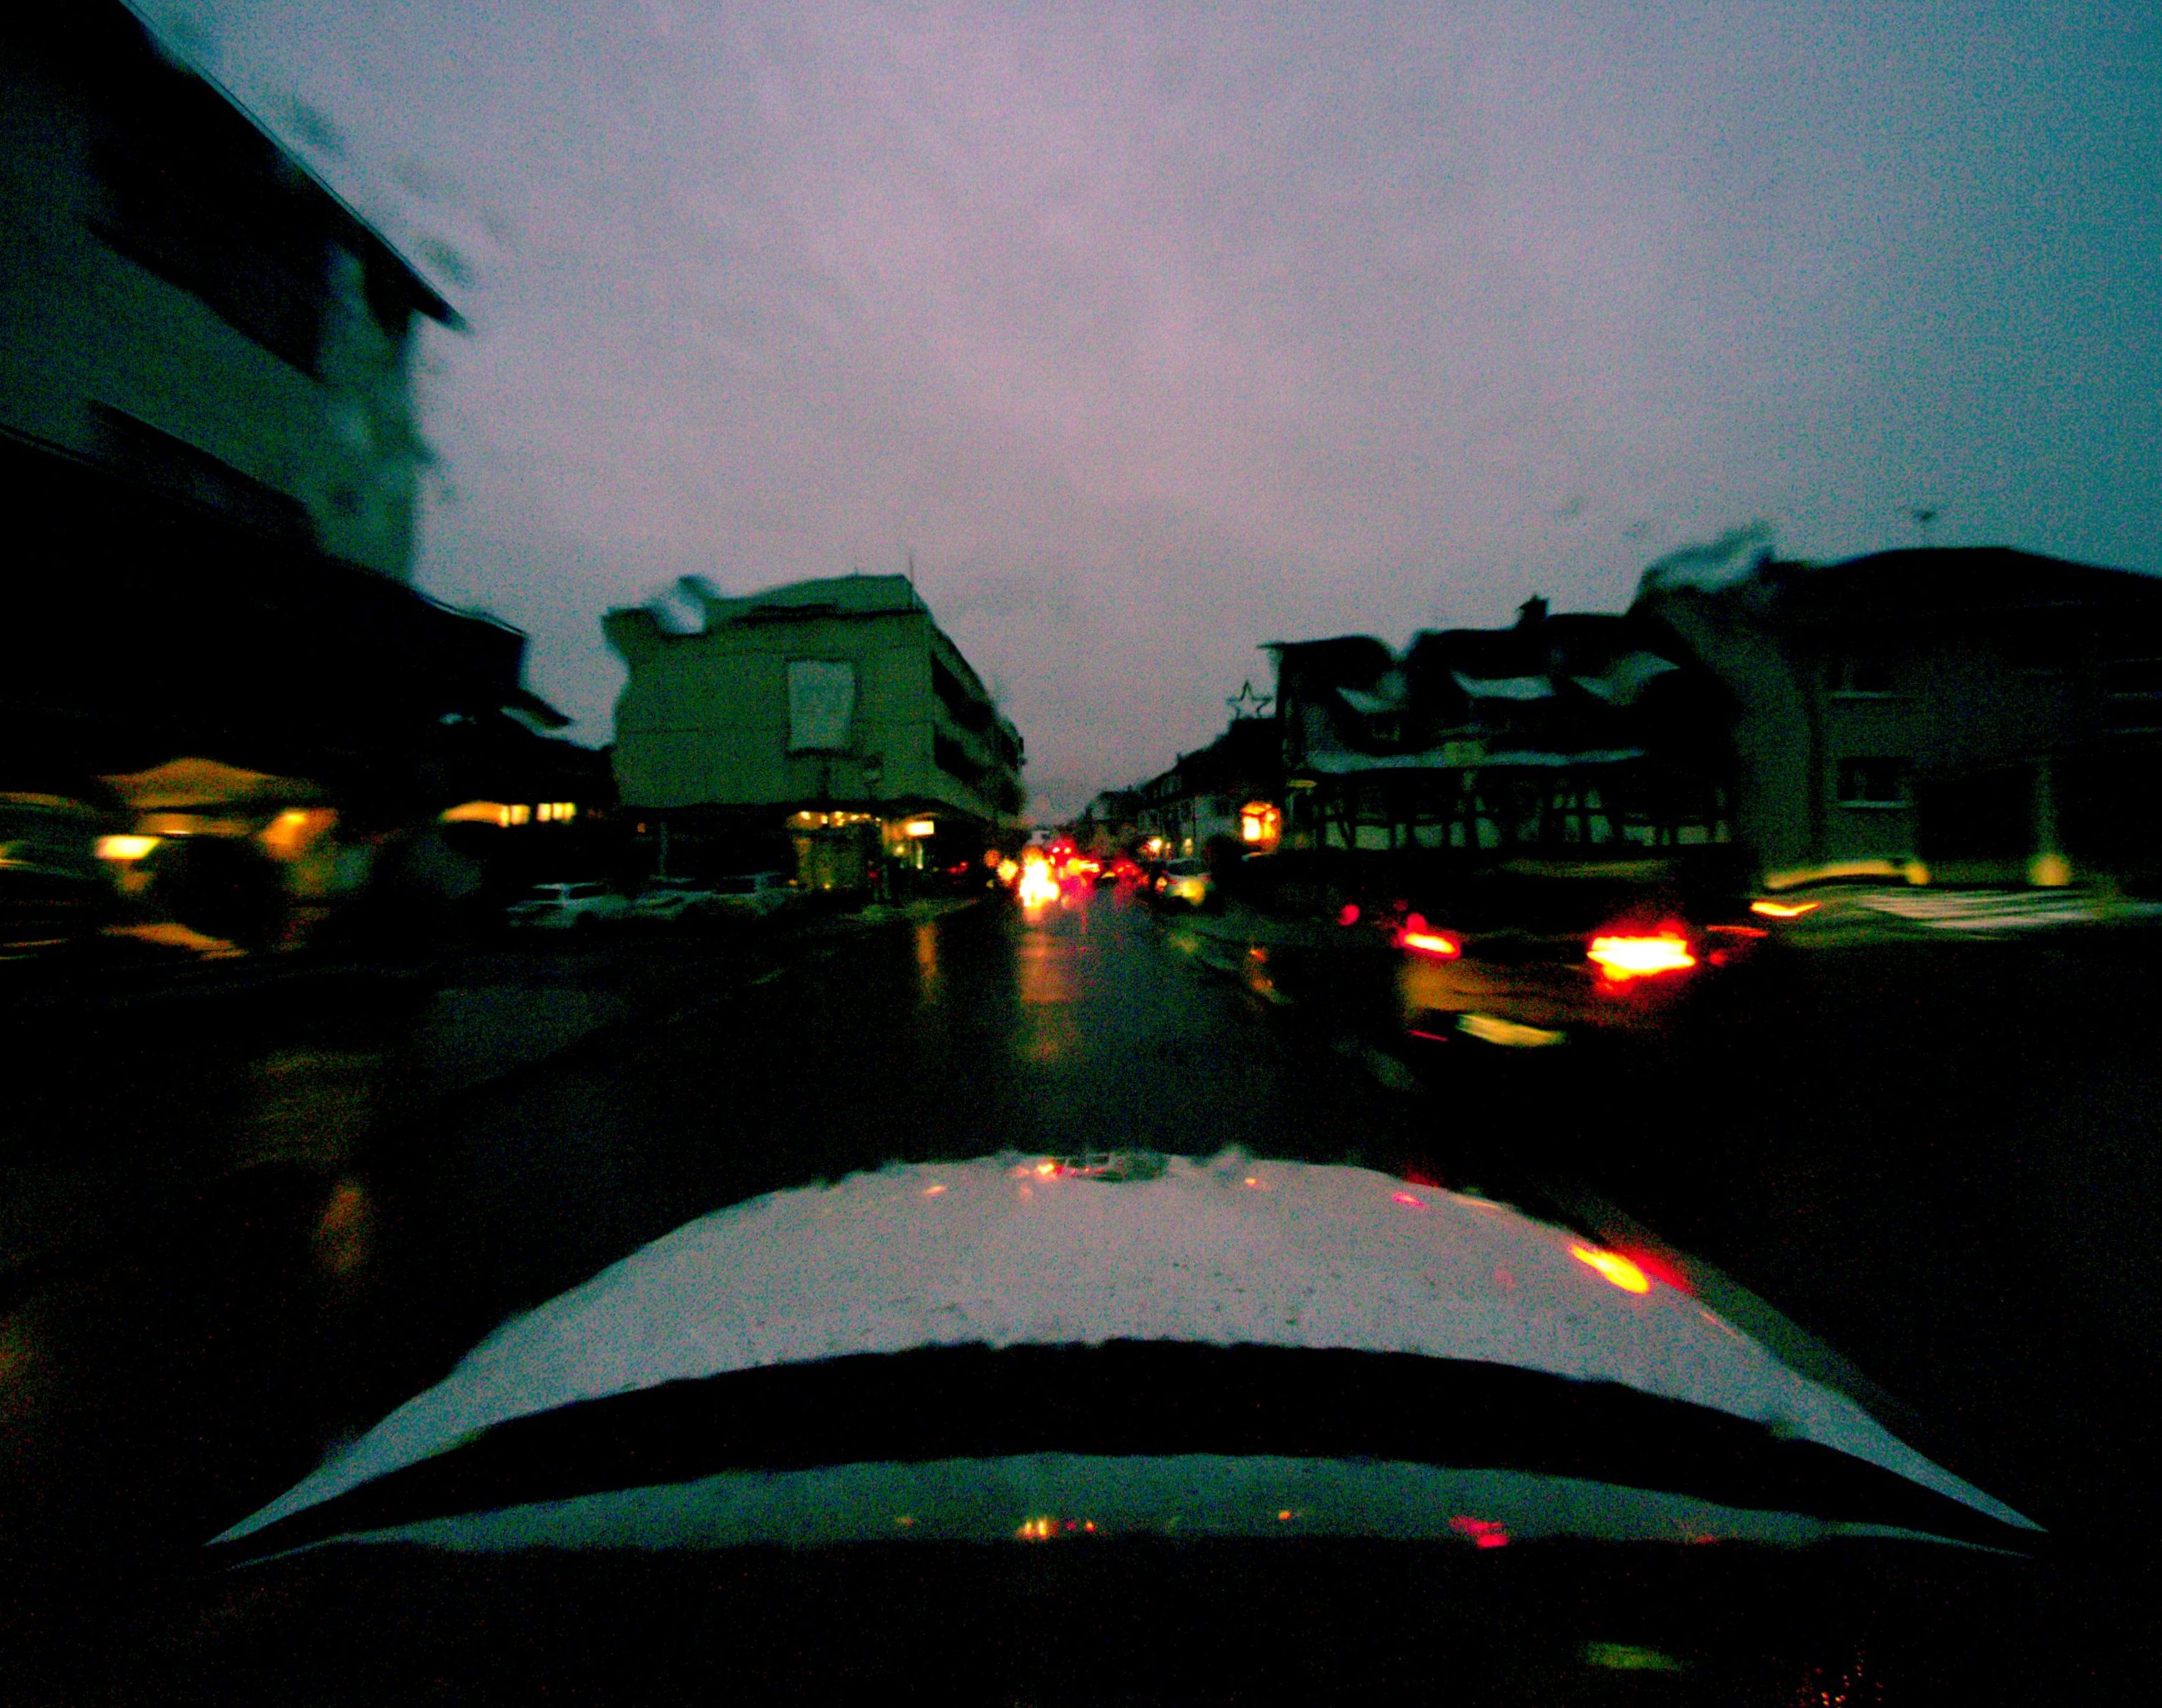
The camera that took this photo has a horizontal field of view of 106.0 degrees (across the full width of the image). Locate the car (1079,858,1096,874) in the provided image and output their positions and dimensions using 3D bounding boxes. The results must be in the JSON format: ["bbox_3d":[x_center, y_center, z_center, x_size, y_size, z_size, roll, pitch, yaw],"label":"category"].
[{"bbox_3d":[0.601,1.108,76.738,1.633,1.481,3.270,0,0,0],"label":"car"}]

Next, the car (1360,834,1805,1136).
[{"bbox_3d":[3.881,0.661,6.042,3.747,1.447,1.755,-3,0,-42],"label":"car"}]

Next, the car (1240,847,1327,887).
[{"bbox_3d":[8.701,0.551,35.214,3.278,1.441,1.686,-5,-1,0],"label":"car"}]

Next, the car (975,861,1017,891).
[{"bbox_3d":[-4.452,1.129,43.279,1.608,1.533,3.931,0,0,3],"label":"car"}]

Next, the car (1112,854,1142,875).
[{"bbox_3d":[3.645,0.787,65.168,1.878,1.547,4.665,-2,0,-3],"label":"car"}]

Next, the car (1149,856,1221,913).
[{"bbox_3d":[3.027,0.866,24.342,1.725,1.459,4.002,-4,-1,2],"label":"car"}]

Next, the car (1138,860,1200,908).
[{"bbox_3d":[3.115,1.031,29.686,1.758,1.526,4.390,-4,-1,1],"label":"car"}]

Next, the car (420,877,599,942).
[{"bbox_3d":[-16.747,1.558,24.187,1.688,1.464,4.460,-2,1,8],"label":"car"}]

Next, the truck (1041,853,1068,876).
[{"bbox_3d":[-3.805,1.455,115.387,3.014,3.129,7.977,0,-1,-8],"label":"truck"}]

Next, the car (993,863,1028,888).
[{"bbox_3d":[-4.185,1.255,49.052,1.669,1.446,4.428,0,0,1],"label":"car"}]

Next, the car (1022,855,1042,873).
[{"bbox_3d":[-4.721,0.947,78.727,1.792,1.642,3.804,0,0,-6],"label":"car"}]

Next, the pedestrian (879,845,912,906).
[{"bbox_3d":[-6.088,0.703,26.835,0.974,1.938,1.197,-2,0,-12],"label":"pedestrian"}]

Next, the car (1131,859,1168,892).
[{"bbox_3d":[3.349,1.042,40.154,1.619,1.441,3.804,-4,-1,4],"label":"car"}]

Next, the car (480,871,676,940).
[{"bbox_3d":[-14.224,1.383,23.487,2.092,1.499,5.053,-2,1,5],"label":"car"}]

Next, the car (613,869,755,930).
[{"bbox_3d":[-11.478,1.263,23.954,1.690,1.400,4.456,-2,1,4],"label":"car"}]

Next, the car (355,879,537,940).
[{"bbox_3d":[-19.471,1.642,25.277,1.688,1.464,4.460,-2,1,8],"label":"car"}]

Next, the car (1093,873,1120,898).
[{"bbox_3d":[1.586,1.952,50.803,1.632,1.481,3.380,0,-1,1],"label":"car"}]

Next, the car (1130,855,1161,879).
[{"bbox_3d":[4.397,0.900,56.353,1.788,1.460,4.531,-3,-1,1],"label":"car"}]

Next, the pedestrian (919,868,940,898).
[{"bbox_3d":[-6.634,1.259,35.662,0.753,1.310,0.828,0,-1,0],"label":"pedestrian"}]

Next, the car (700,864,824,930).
[{"bbox_3d":[-8.940,1.140,23.273,1.758,1.499,4.449,-2,1,-1],"label":"car"}]
